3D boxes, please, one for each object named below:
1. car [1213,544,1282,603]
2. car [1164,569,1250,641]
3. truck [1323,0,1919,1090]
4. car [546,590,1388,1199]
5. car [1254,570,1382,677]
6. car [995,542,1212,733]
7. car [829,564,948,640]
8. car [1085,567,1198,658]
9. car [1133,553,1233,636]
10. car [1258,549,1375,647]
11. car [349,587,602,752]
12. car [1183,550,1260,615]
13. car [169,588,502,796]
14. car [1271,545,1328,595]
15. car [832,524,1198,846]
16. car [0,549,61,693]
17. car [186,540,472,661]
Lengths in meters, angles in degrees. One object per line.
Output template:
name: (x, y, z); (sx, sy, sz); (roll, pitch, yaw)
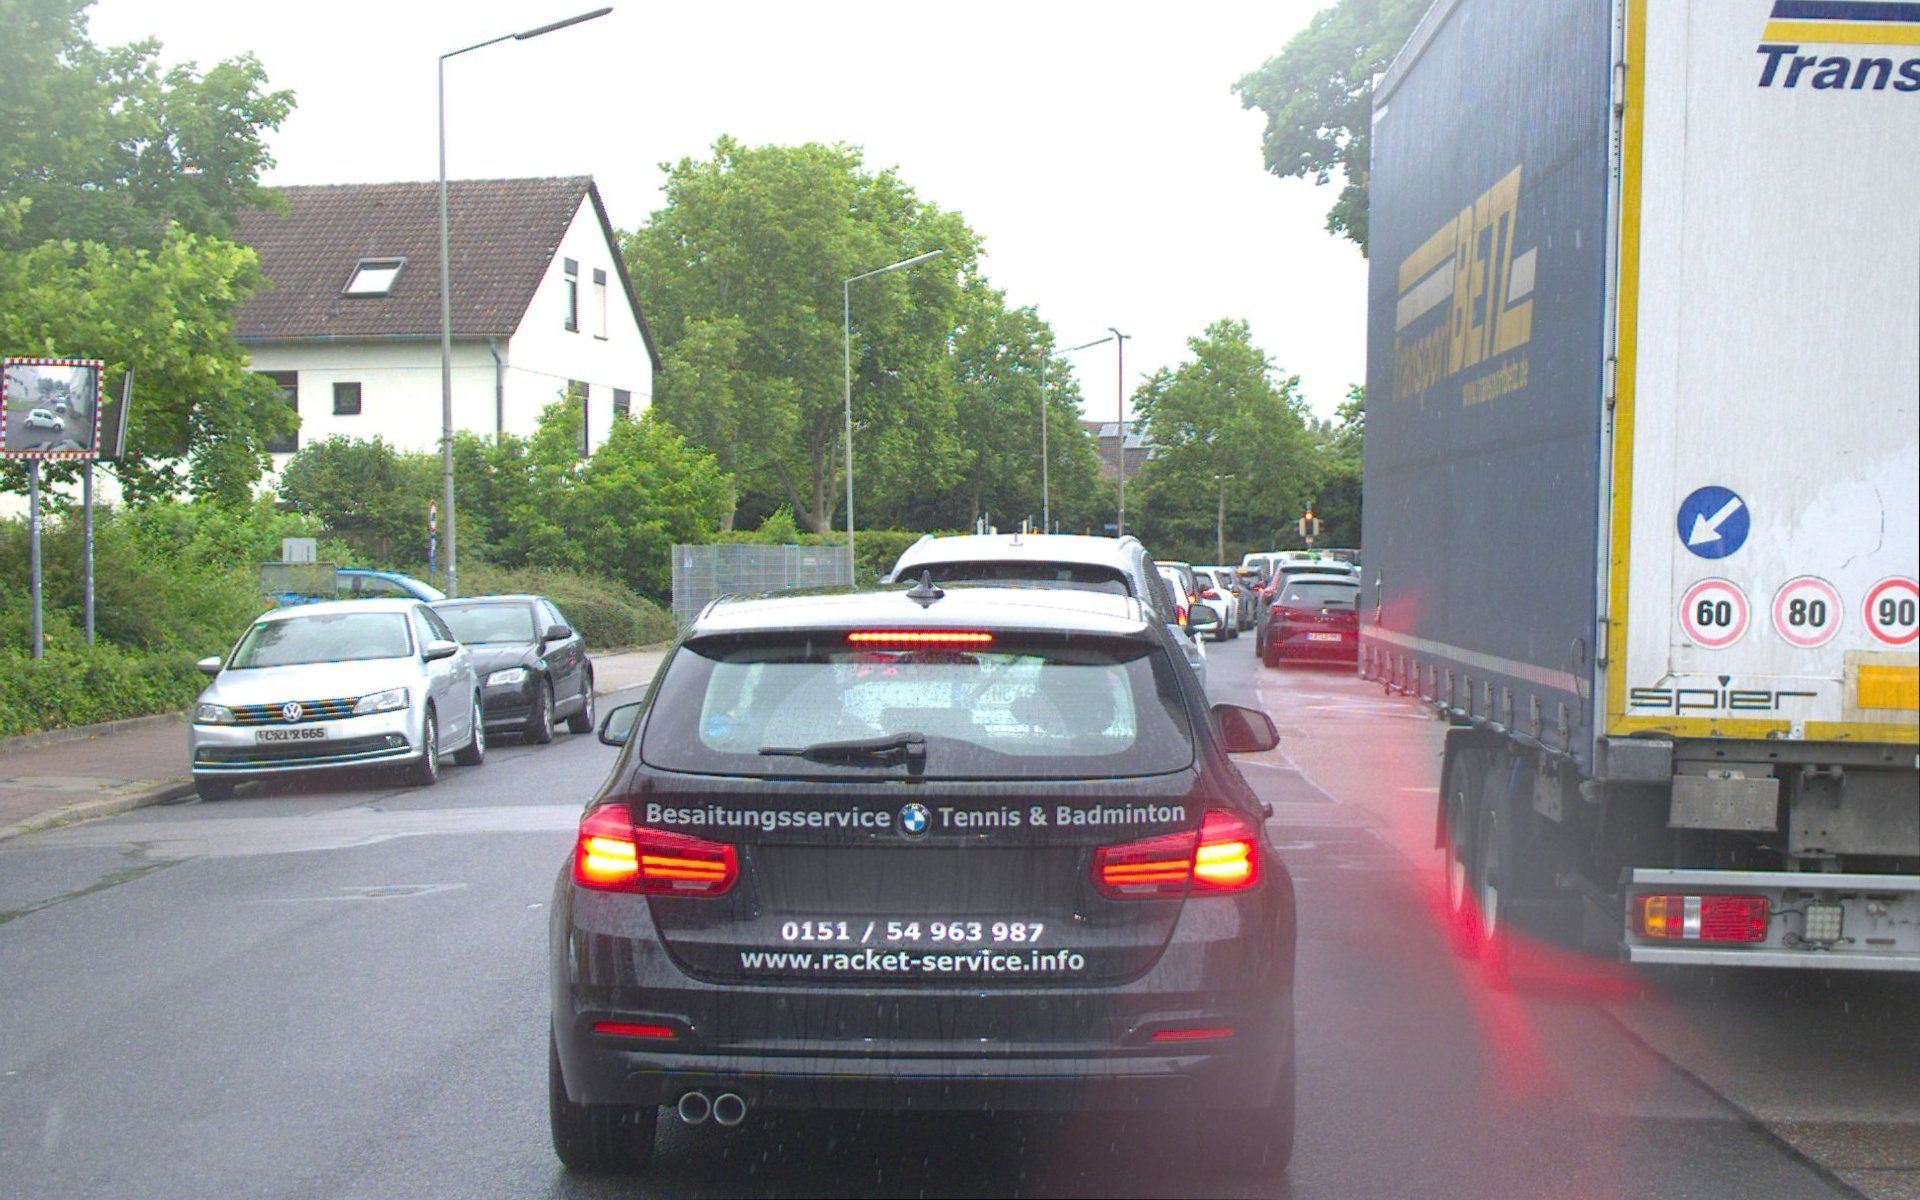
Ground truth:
car: (7.886, -0.739, 94.189); (1.804, 1.581, 3.999); (0, 1, 6)
car: (5.633, 0.106, 78.058); (1.805, 1.581, 3.999); (0, 0, 6)
truck: (3.135, -0.518, 12.968); (2.741, 3.598, 7.750); (2, 1, 1)
car: (-0.110, 0.673, 9.371); (1.804, 1.390, 4.000); (0, 0, -4)
car: (5.496, 0.347, 53.137); (1.804, 1.581, 3.999); (0, 0, 4)
car: (1.327, 0.307, 30.650); (1.804, 1.581, 3.999); (0, 0, 4)
car: (-1.408, 0.025, 69.342); (1.706, 1.362, 3.837); (-3, 1, 9)
car: (3.279, 0.210, 61.613); (1.805, 1.581, 3.999); (0, 0, 6)
car: (4.445, -0.106, 68.077); (1.805, 1.581, 3.999); (0, 0, 6)
car: (5.959, -0.045, 57.838); (1.804, 1.581, 3.999); (0, 0, 4)
car: (-4.549, 0.615, 32.761); (1.705, 1.362, 3.838); (-3, 1, 2)
car: (6.597, -0.438, 86.407); (1.805, 1.581, 3.999); (0, 0, 6)
car: (-4.783, 0.654, 26.931); (1.705, 1.362, 4.601); (-3, 1, 0)
car: (11.058, -0.975, 111.899); (1.804, 1.581, 3.999); (0, 1, 6)
car: (0.401, 0.413, 19.002); (1.804, 1.581, 3.999); (0, 0, 4)
car: (-12.097, 0.224, 37.672); (3.987, 1.535, 1.911); (0, 1, -1)
car: (-9.382, -0.001, 51.288); (3.826, 1.589, 1.711); (-3, 1, 4)
